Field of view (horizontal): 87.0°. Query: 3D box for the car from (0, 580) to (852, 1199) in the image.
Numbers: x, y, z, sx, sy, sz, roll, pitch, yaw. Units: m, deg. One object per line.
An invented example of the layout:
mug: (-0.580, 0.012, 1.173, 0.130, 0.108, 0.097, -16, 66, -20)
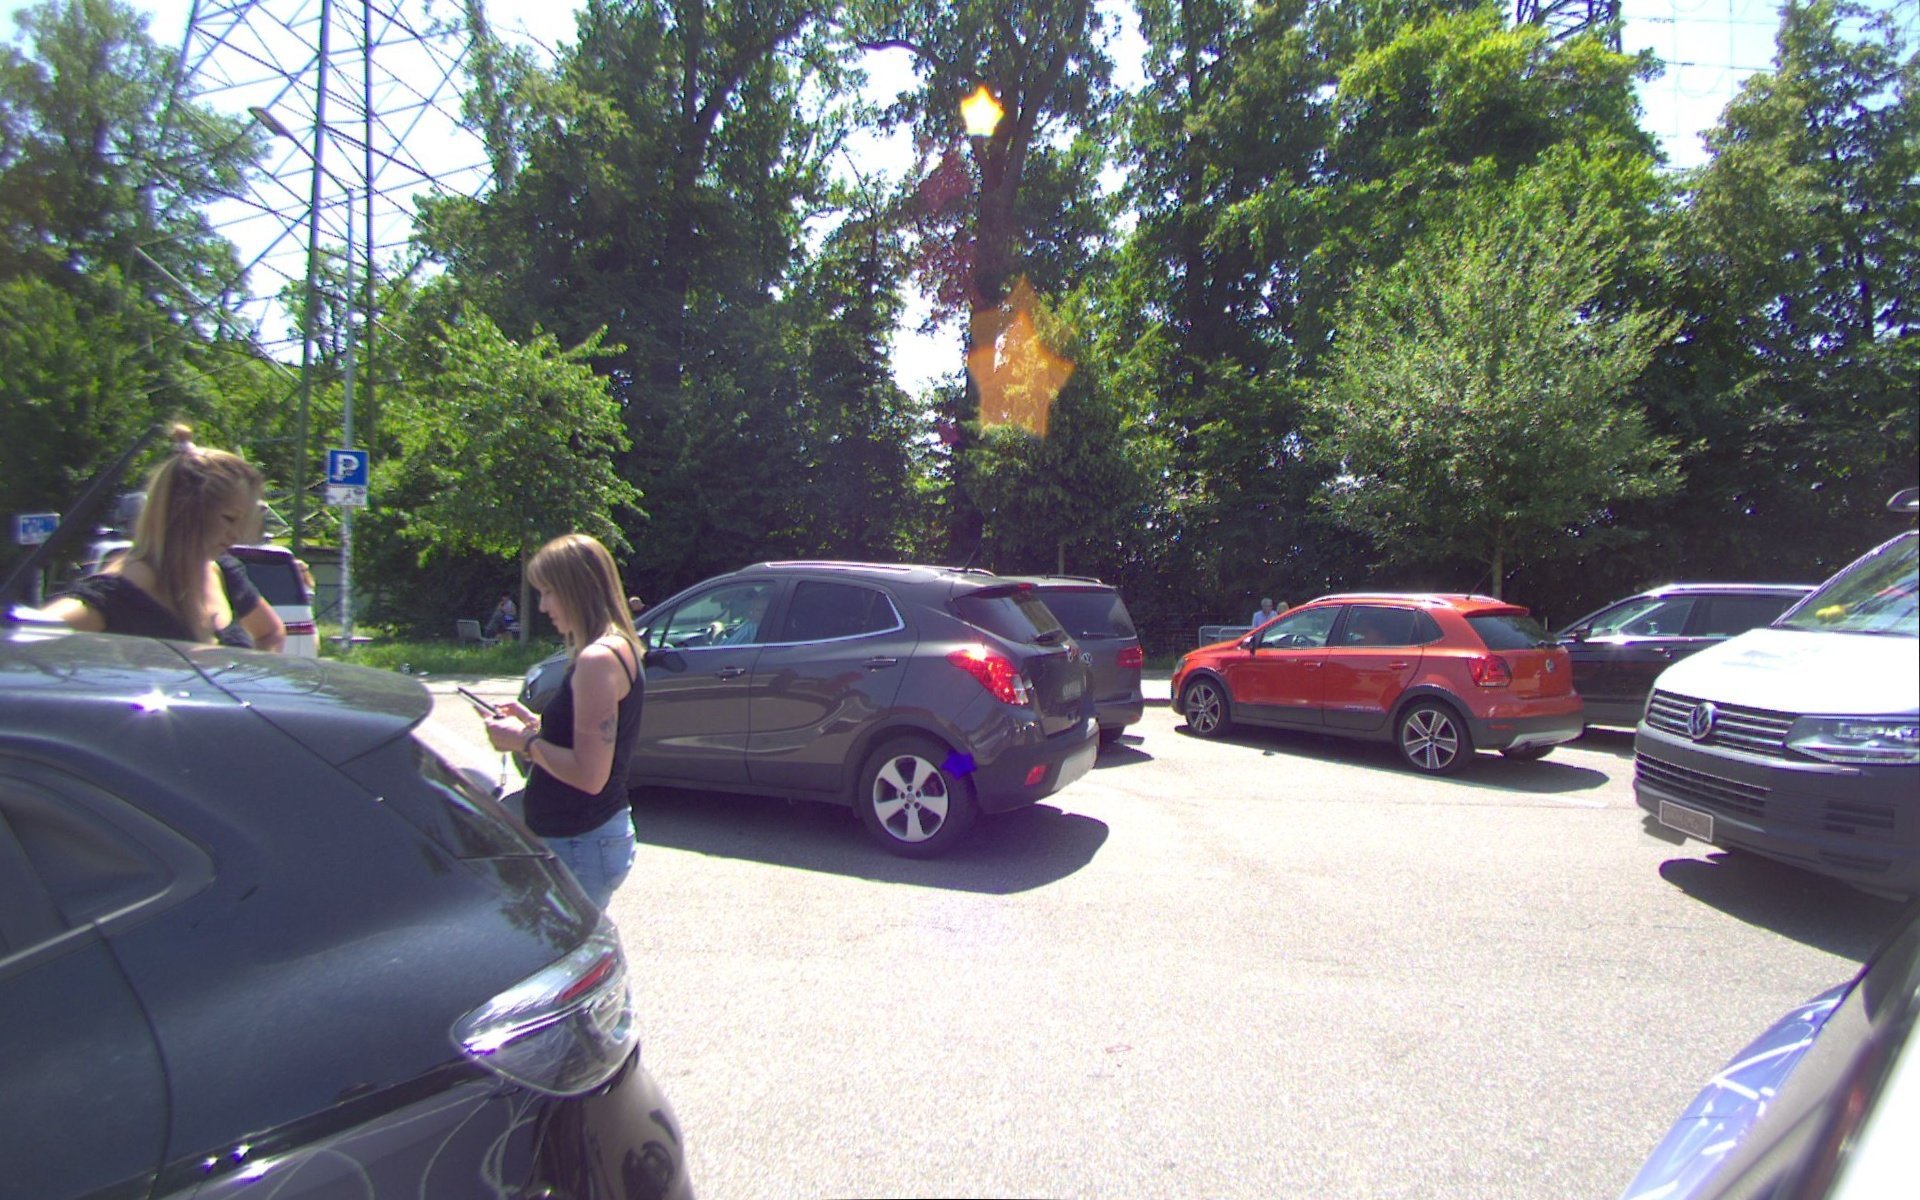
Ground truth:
car: (-2.046, 0.729, 0.785, 1.777, 1.476, 3.627, 0, 0, 45)

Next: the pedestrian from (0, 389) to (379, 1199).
pedestrian: (-1.880, 0.524, 2.458, 0.477, 1.883, 0.914, 1, -1, -8)

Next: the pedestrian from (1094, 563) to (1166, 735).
pedestrian: (1.771, 0.495, 10.574, 0.576, 1.744, 0.483, 0, 0, -20)

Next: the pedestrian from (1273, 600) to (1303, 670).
pedestrian: (5.776, 0.613, 17.839, 0.348, 1.207, 0.367, 0, 0, -20)

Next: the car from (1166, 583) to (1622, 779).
car: (3.902, 0.614, 9.672, 1.588, 1.485, 3.751, 1, 0, -34)

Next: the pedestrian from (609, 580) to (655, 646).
pedestrian: (-6.920, 0.260, 21.344, 0.539, 1.354, 0.758, 0, 0, 37)

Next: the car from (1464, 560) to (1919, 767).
car: (7.210, 0.501, 9.765, 1.679, 1.637, 3.863, 1, 0, -40)

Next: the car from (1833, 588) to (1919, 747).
car: (10.359, 0.645, 8.905, 1.813, 1.473, 3.776, 1, 0, -36)

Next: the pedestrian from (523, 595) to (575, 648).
pedestrian: (-9.606, 0.499, 23.651, 0.810, 1.201, 0.836, 0, 0, 40)

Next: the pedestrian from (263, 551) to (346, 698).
pedestrian: (-8.832, 0.314, 13.627, 0.837, 1.903, 0.764, 0, 0, 43)

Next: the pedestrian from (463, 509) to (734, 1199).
pedestrian: (-0.933, 0.604, 2.611, 0.477, 1.614, 0.502, 1, -1, -44)

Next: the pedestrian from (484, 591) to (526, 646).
pedestrian: (-11.014, 0.436, 24.516, 0.539, 1.318, 0.758, 0, 0, 37)

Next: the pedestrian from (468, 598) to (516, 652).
pedestrian: (-10.493, 0.537, 22.685, 0.785, 1.178, 0.696, 0, 0, 39)

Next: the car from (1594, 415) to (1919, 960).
car: (6.257, 0.360, 4.685, 5.336, 2.131, 1.842, 1, 1, 4)

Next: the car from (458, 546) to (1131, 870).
car: (-1.087, 0.528, 6.781, 4.119, 1.637, 1.825, 1, 0, 23)

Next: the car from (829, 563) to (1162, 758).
car: (0.164, 0.495, 10.611, 1.670, 1.637, 3.912, 0, 0, -30)

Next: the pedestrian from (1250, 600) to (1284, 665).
pedestrian: (5.780, 0.603, 19.059, 0.433, 1.207, 0.414, 0, 0, -30)

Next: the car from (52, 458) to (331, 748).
car: (-8.415, 0.016, 10.871, 1.897, 2.400, 4.963, 1, -1, -43)

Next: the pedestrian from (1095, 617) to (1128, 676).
pedestrian: (2.353, 0.716, 15.731, 0.494, 0.890, 0.512, 0, -1, 10)
